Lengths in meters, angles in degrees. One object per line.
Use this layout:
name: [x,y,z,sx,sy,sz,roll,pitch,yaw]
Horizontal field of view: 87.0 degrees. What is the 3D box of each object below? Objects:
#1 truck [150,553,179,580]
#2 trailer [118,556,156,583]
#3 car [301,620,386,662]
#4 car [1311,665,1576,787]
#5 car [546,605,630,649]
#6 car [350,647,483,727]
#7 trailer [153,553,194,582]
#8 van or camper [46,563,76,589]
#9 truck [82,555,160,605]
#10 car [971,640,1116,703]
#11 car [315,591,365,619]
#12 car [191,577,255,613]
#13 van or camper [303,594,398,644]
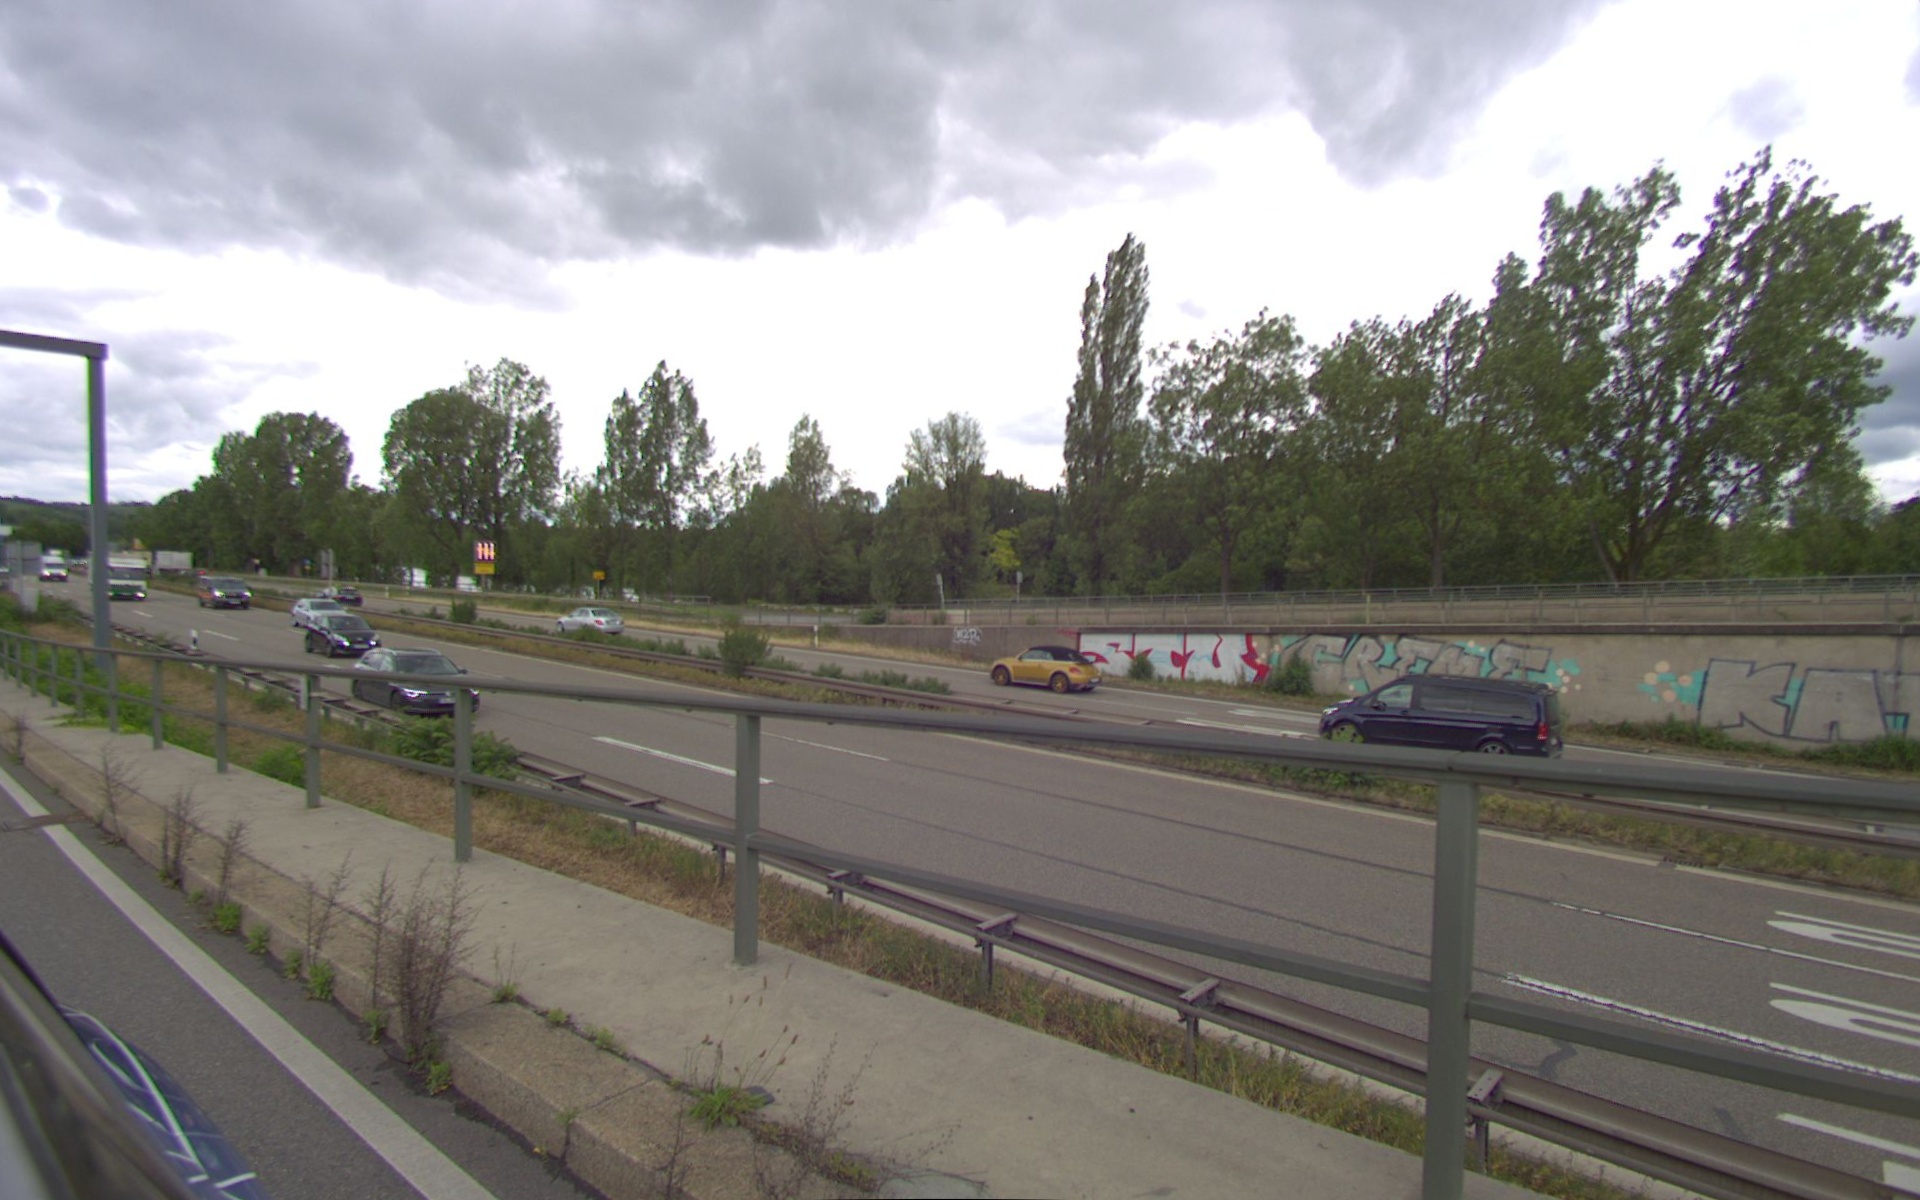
truck: [-122.068,-5.138,155.235,5.314,3.966,2.759,3,3,44]
trailer: [-148.560,-5.585,182.607,14.784,4.708,3.426,2,2,43]
car: [-22.717,1.458,37.235,3.647,1.337,1.705,2,1,42]
car: [11.104,2.769,23.484,5.113,2.003,2.071,4,2,41]
car: [-18.871,1.318,51.214,4.703,1.704,1.972,7,4,41]
car: [-13.137,2.008,24.346,1.911,1.512,4.310,2,0,-41]
trailer: [-116.708,-4.869,150.076,13.518,3.978,2.759,3,3,44]
van or camper: [-96.303,-2.624,108.468,2.177,2.623,6.340,-1,3,-40]
truck: [-58.467,-1.409,70.473,7.566,3.182,3.000,3,1,41]
car: [2.841,2.410,35.101,4.701,1.732,1.973,3,1,41]
car: [-41.770,0.312,68.145,4.002,1.741,1.971,2,1,44]
car: [-46.771,-0.325,64.178,5.337,2.028,2.072,3,2,41]
van or camper: [-27.986,0.803,46.347,6.345,1.882,1.862,3,3,41]
